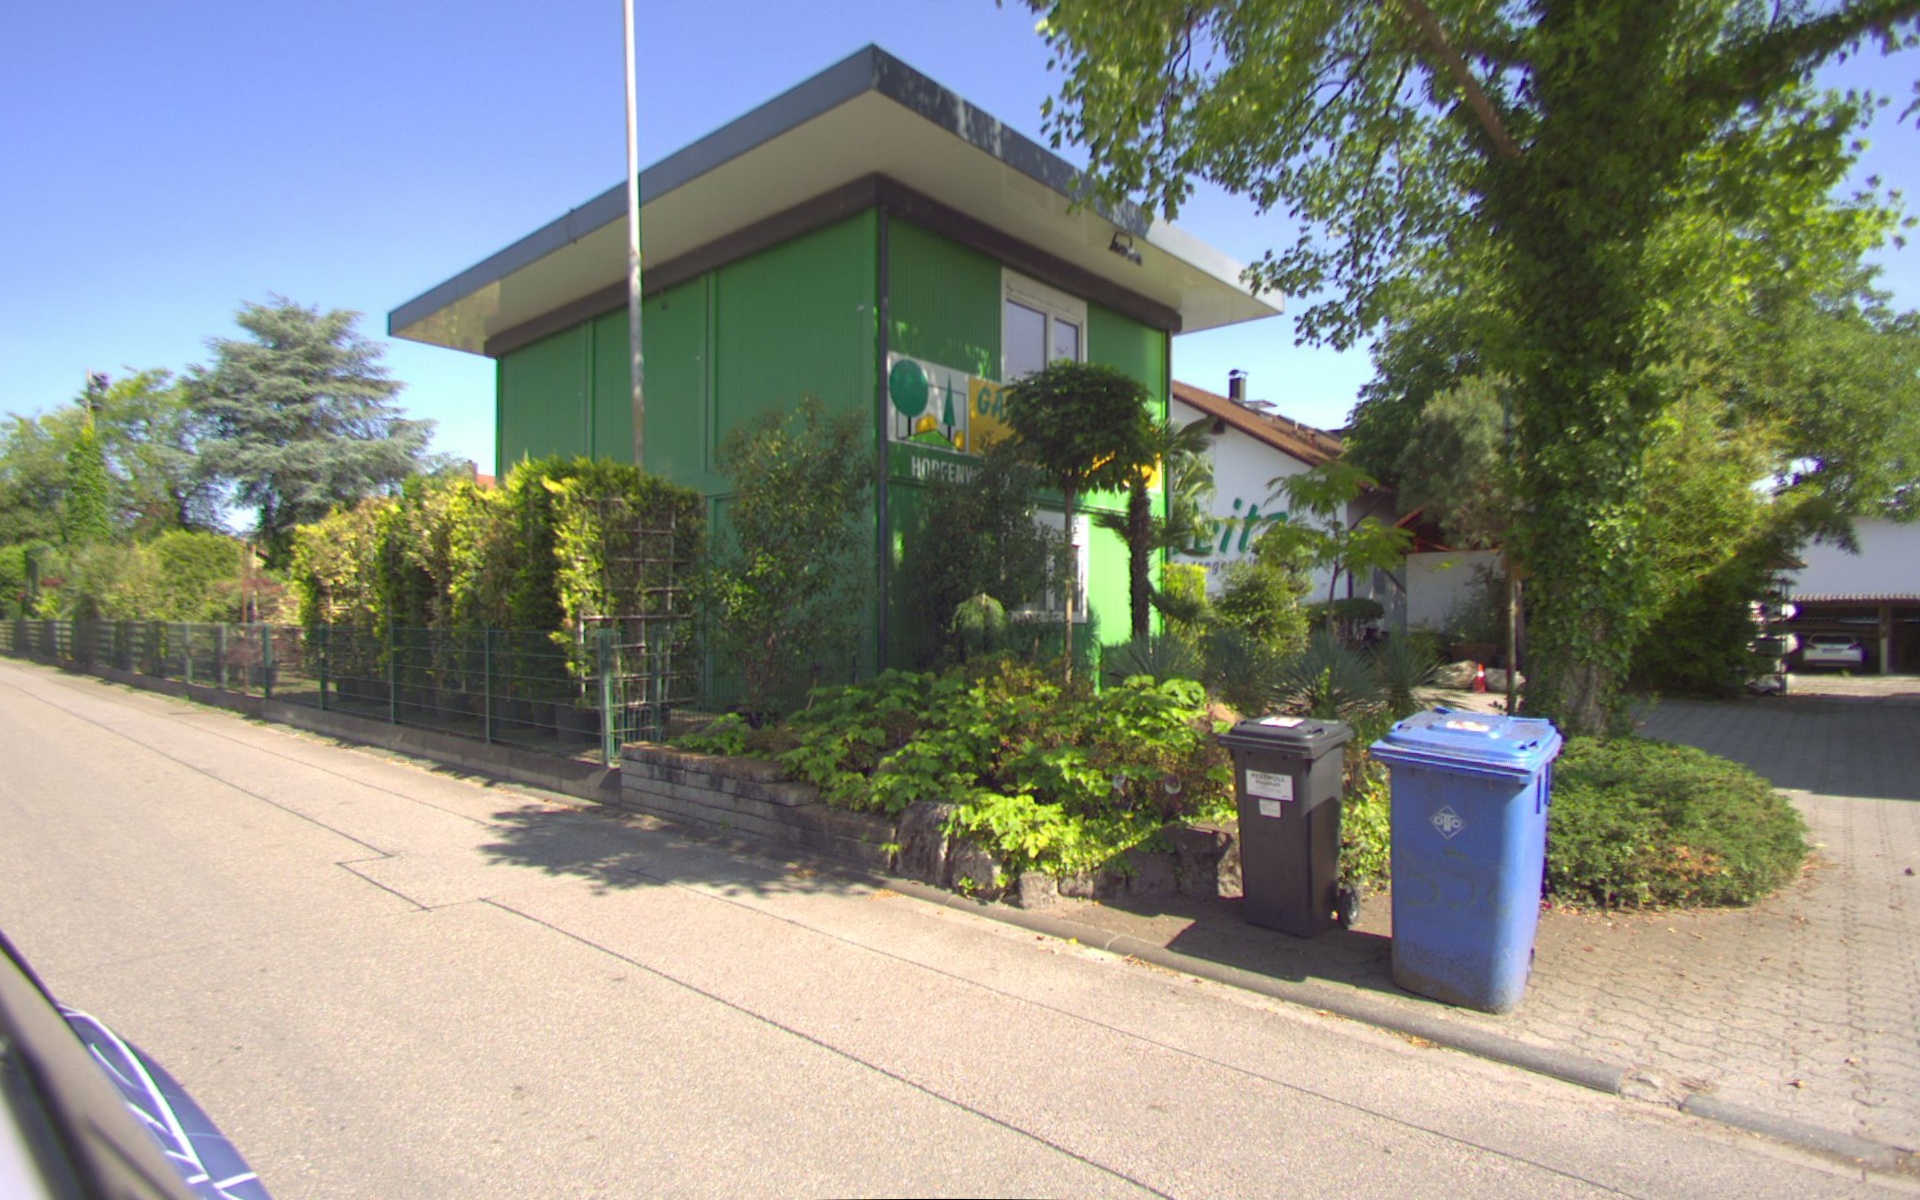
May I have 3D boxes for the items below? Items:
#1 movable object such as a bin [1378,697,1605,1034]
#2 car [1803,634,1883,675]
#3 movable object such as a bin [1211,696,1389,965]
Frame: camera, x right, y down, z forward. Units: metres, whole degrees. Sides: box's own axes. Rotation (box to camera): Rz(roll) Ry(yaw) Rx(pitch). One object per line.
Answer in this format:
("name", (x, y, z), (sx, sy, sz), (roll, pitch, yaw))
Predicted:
("movable object such as a bin", (2.075, 0.954, 3.939), (0.612, 1.062, 0.723), (-1, -1, 42))
("car", (32.819, 1.983, 37.581), (3.940, 1.453, 1.904), (2, -2, -44))
("movable object such as a bin", (1.541, 0.988, 4.579), (0.568, 1.032, 0.576), (-1, -1, 42))
